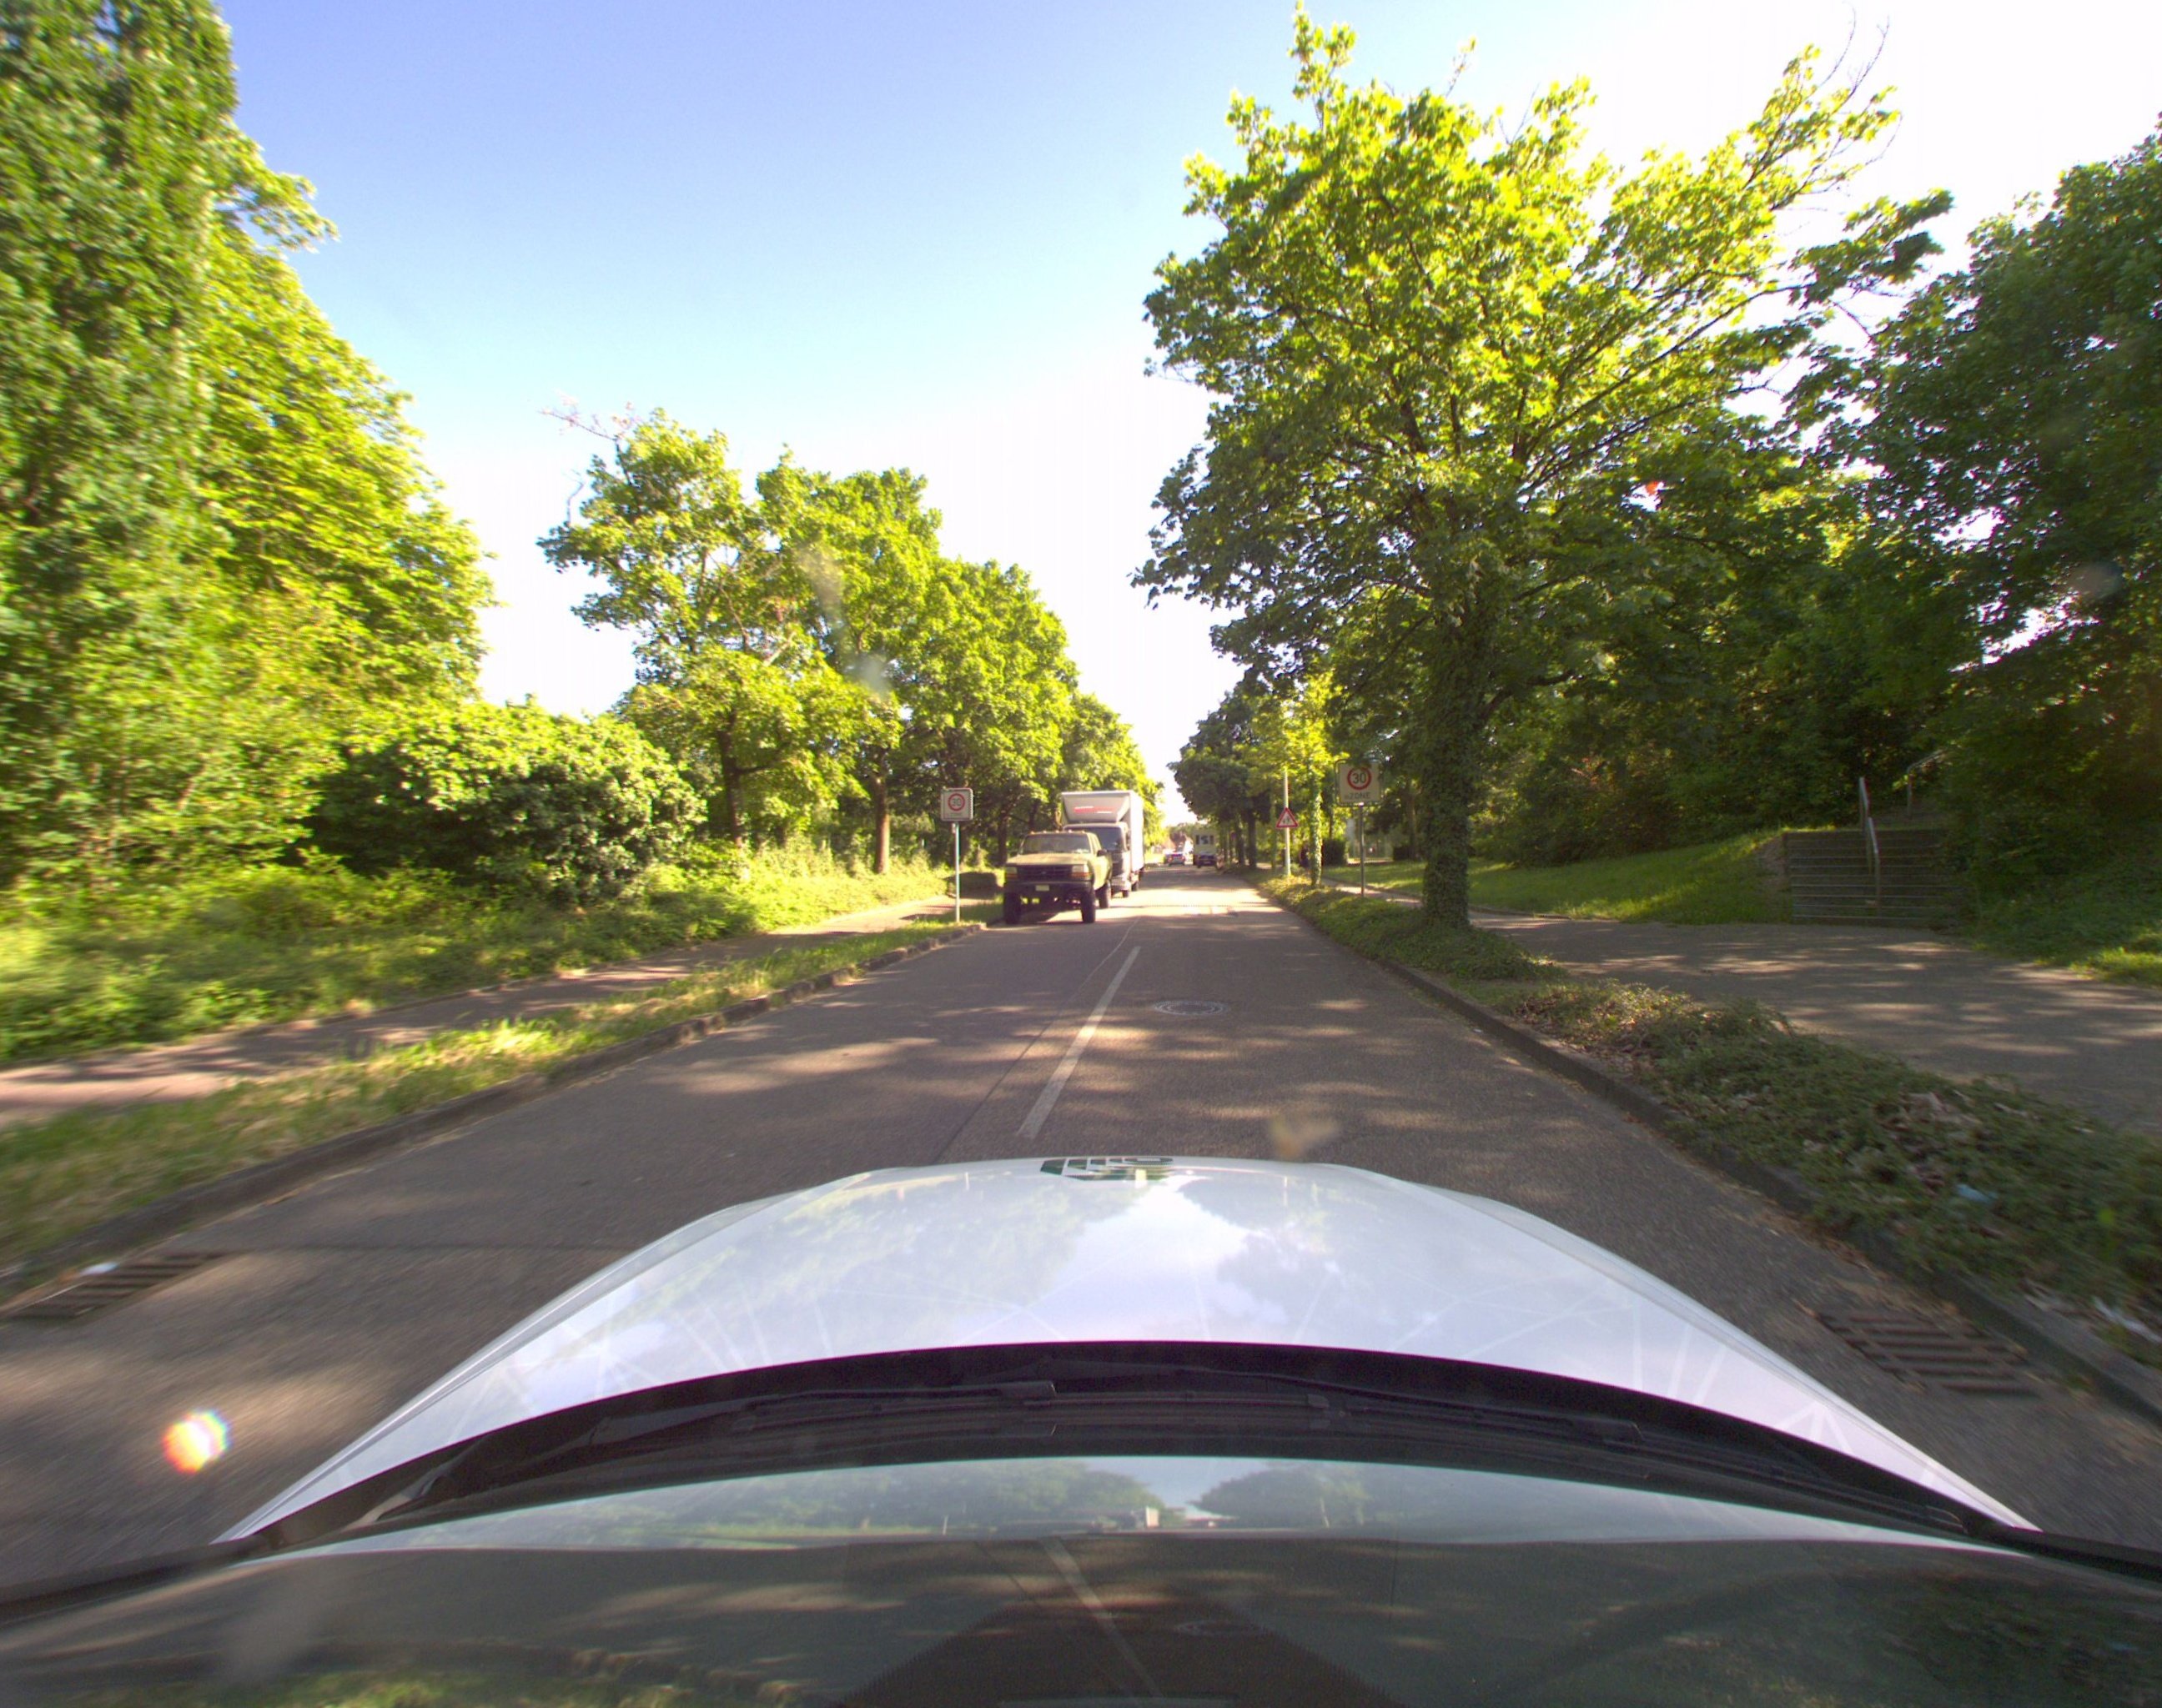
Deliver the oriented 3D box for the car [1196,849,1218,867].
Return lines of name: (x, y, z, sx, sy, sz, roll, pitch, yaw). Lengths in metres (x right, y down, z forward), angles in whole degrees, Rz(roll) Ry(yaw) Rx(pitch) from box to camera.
car: (11.062, 0.304, 71.540, 1.784, 1.510, 4.010, -1, 0, 8)

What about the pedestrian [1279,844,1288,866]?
pedestrian: (15.214, 0.077, 61.203, 0.644, 1.661, 0.652, -1, 0, 9)

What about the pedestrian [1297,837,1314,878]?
pedestrian: (10.184, 0.157, 36.896, 0.644, 1.820, 0.652, -1, 0, 8)

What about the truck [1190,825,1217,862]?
truck: (14.006, -1.201, 93.487, 2.871, 3.944, 10.024, -1, 0, 8)

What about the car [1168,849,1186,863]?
car: (10.799, 0.264, 91.501, 1.784, 1.510, 4.010, -1, 0, 8)

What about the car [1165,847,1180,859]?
car: (12.485, -0.126, 110.952, 1.784, 1.510, 4.010, -1, 0, 8)

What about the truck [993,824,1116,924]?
truck: (-0.439, 0.424, 20.702, 2.102, 2.094, 6.660, -1, 0, 7)

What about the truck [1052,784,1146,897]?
truck: (0.876, -0.454, 30.488, 2.600, 3.627, 7.973, -1, 0, 7)

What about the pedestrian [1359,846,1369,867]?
pedestrian: (22.598, 0.216, 65.107, 0.644, 1.661, 0.652, -1, 0, 9)
